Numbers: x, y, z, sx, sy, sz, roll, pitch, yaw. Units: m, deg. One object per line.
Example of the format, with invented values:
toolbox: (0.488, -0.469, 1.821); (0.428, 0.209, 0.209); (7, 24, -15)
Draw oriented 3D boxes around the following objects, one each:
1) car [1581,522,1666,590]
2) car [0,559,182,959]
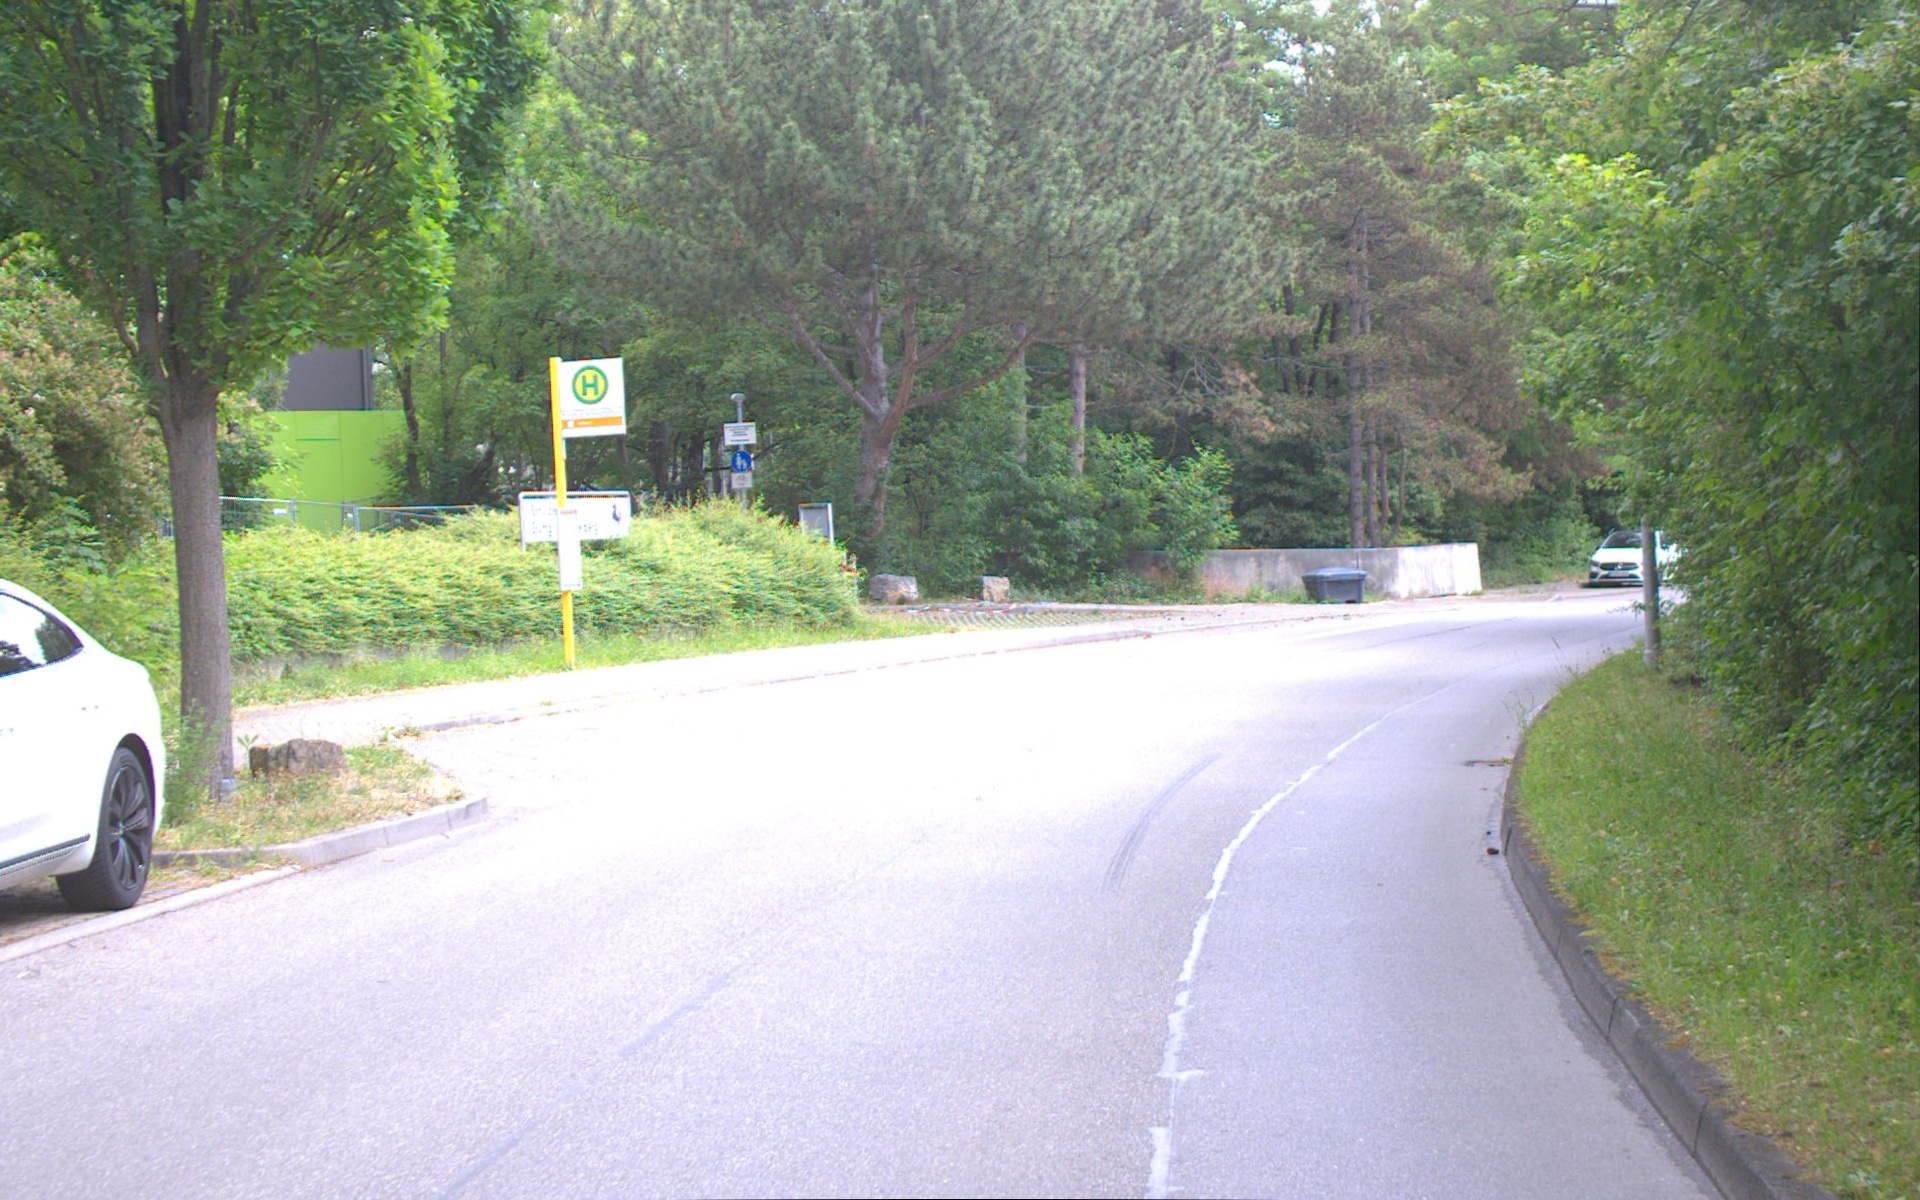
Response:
car: (17.034, -1.145, 88.175); (1.720, 1.544, 3.721); (-2, 2, 17)
car: (-4.343, 0.583, 12.376); (1.814, 1.419, 4.360); (-1, 1, 4)
